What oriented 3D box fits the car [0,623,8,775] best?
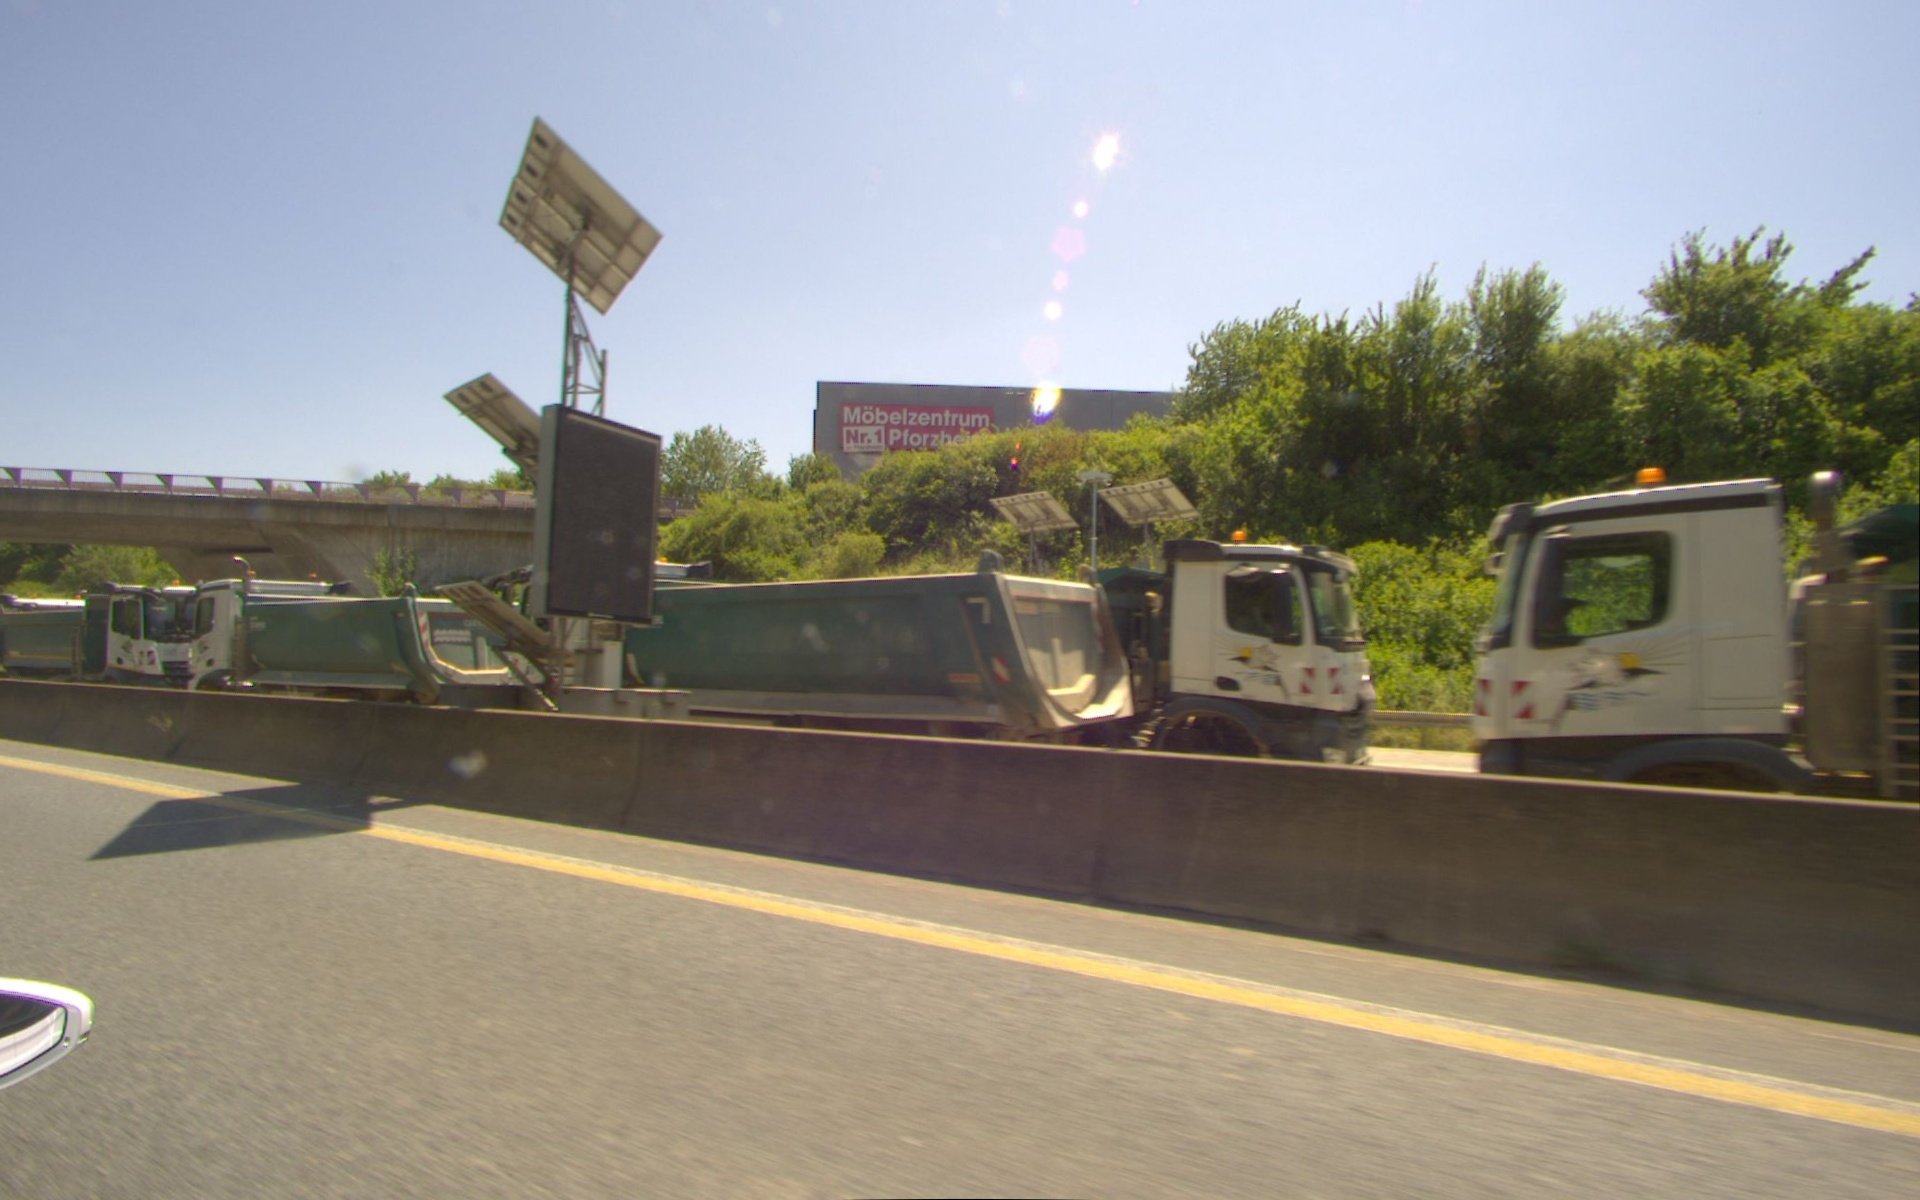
[{"bbox_3d":[-12.038,1.005,10.472,4.877,1.509,1.896,-1,-2,33],"label":"car"}]

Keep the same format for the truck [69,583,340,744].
[{"bbox_3d":[-20.786,1.620,27.338,9.189,3.809,2.684,-1,-2,31],"label":"truck"}]

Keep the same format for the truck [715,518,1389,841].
[{"bbox_3d":[0.840,0.956,14.337,9.467,3.421,2.682,-1,-2,33],"label":"truck"}]

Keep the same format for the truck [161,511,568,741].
[{"bbox_3d":[-11.682,0.512,19.232,9.188,3.602,2.684,-1,-2,31],"label":"truck"}]

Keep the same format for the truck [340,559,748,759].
[{"bbox_3d":[-8.854,1.117,20.703,9.461,3.421,2.684,-1,-2,31],"label":"truck"}]

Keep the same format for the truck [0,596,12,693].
[{"bbox_3d":[-41.685,1.760,40.319,9.188,3.774,2.684,-1,-2,31],"label":"truck"}]

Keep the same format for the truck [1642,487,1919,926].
[{"bbox_3d":[11.142,0.869,7.795,9.464,3.602,2.683,-1,-2,32],"label":"truck"}]

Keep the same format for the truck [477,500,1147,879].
[{"bbox_3d":[-2.397,0.962,13.180,9.272,3.602,2.683,-1,-2,33],"label":"truck"}]

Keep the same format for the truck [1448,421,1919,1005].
[{"bbox_3d":[8.407,0.705,6.223,9.464,3.602,2.683,-1,-2,32],"label":"truck"}]

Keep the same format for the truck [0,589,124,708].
[{"bbox_3d":[-31.995,1.577,33.990,9.188,3.602,2.684,-1,-2,31],"label":"truck"}]

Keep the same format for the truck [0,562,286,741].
[{"bbox_3d":[-19.767,1.146,23.683,9.188,3.602,2.684,-1,-2,31],"label":"truck"}]

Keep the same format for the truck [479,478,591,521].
[{"bbox_3d":[-23.787,-5.602,56.186,5.409,2.092,1.937,0,-2,-7],"label":"truck"}]
